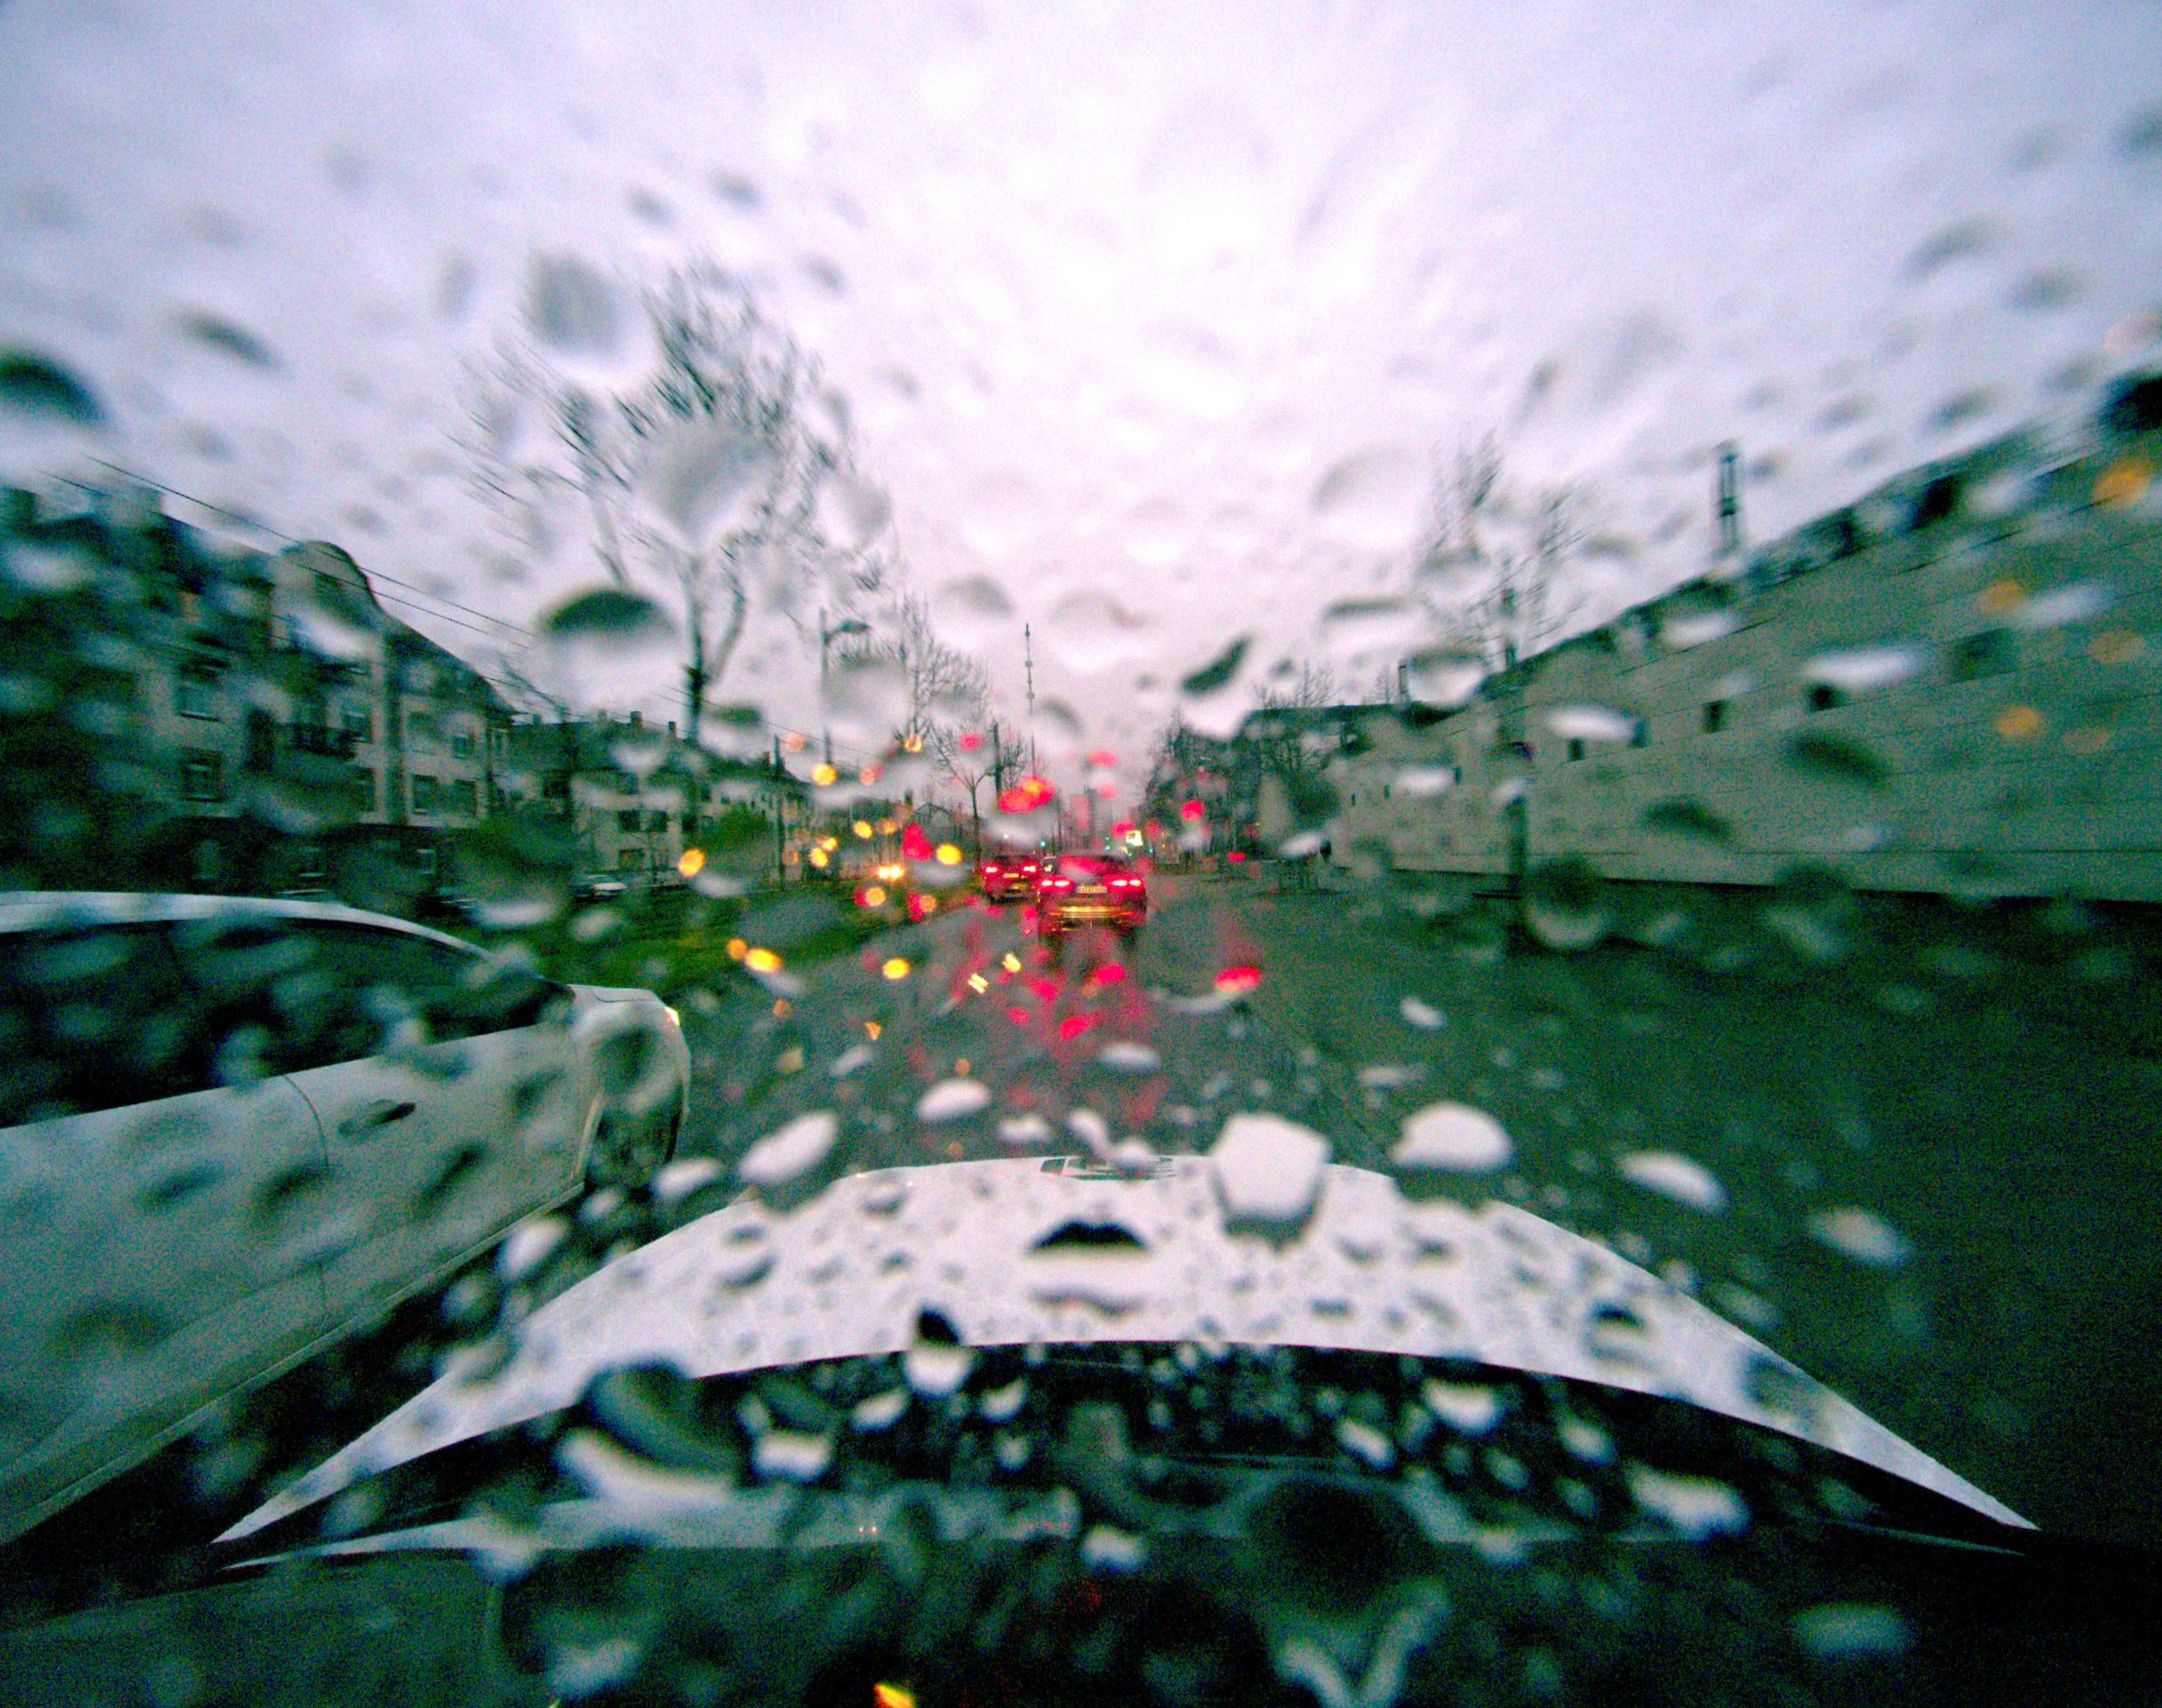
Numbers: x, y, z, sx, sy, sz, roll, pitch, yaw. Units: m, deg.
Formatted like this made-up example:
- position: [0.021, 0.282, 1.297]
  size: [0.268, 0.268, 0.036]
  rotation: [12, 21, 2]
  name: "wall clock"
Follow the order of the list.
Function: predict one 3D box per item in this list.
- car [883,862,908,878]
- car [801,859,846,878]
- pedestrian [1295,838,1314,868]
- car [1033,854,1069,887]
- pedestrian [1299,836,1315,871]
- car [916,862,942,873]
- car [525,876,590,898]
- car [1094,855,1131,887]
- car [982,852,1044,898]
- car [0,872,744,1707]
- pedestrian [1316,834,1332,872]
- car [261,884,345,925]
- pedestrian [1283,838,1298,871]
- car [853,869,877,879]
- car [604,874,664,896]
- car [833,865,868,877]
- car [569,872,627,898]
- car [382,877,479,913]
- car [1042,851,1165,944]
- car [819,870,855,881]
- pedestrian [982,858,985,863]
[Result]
- position: [-19.427, 1.669, 85.527]
  size: [1.539, 1.504, 3.786]
  rotation: [-1, 0, 3]
  name: "car"
- position: [-25.390, 1.417, 80.301]
  size: [4.598, 1.723, 1.845]
  rotation: [-1, 0, 35]
  name: "car"
- position: [12.598, -0.038, 45.888]
  size: [0.665, 1.655, 0.993]
  rotation: [-3, -1, -4]
  name: "pedestrian"
- position: [-1.560, 0.864, 43.412]
  size: [1.683, 1.635, 3.475]
  rotation: [-1, 0, 1]
  name: "car"
- position: [10.763, -0.018, 38.786]
  size: [0.667, 1.612, 0.617]
  rotation: [-1, -1, 15]
  name: "pedestrian"
- position: [-23.389, 2.070, 125.324]
  size: [3.799, 1.588, 1.753]
  rotation: [-1, 0, 32]
  name: "car"
- position: [-26.213, 1.633, 40.796]
  size: [2.881, 0.989, 1.806]
  rotation: [1, -1, 37]
  name: "car"
- position: [1.670, 0.873, 43.690]
  size: [1.848, 1.635, 3.475]
  rotation: [-1, 0, 1]
  name: "car"
- position: [-2.307, 0.690, 28.550]
  size: [1.812, 1.450, 3.999]
  rotation: [-1, 0, 0]
  name: "car"
- position: [-2.742, 0.839, 2.440]
  size: [1.682, 1.474, 4.002]
  rotation: [-1, 0, 2]
  name: "car"
- position: [11.511, -0.061, 38.538]
  size: [0.667, 1.778, 0.617]
  rotation: [-1, -1, 15]
  name: "pedestrian"
- position: [-27.766, 1.749, 29.026]
  size: [4.212, 1.258, 1.844]
  rotation: [-1, 0, 42]
  name: "car"
- position: [10.306, 0.035, 40.099]
  size: [0.667, 1.625, 0.617]
  rotation: [-1, -1, 17]
  name: "pedestrian"
- position: [-24.563, 2.297, 92.709]
  size: [2.361, 1.048, 1.446]
  rotation: [-1, 1, 34]
  name: "car"
- position: [-26.439, 1.816, 48.132]
  size: [4.053, 1.161, 1.722]
  rotation: [1, -1, 41]
  name: "car"
- position: [-24.583, 1.809, 86.672]
  size: [3.534, 1.309, 1.697]
  rotation: [-1, 0, 34]
  name: "car"
- position: [-26.492, 1.676, 44.645]
  size: [3.993, 1.230, 1.357]
  rotation: [1, -1, 38]
  name: "car"
- position: [-26.940, 1.662, 33.726]
  size: [3.321, 1.418, 1.888]
  rotation: [-1, -2, 27]
  name: "car"
- position: [0.422, 0.727, 15.153]
  size: [1.986, 1.483, 3.701]
  rotation: [-1, -1, 1]
  name: "car"
- position: [-25.089, 2.209, 83.708]
  size: [3.525, 1.141, 1.748]
  rotation: [-1, 0, 34]
  name: "car"
- position: [-23.108, 1.503, 192.987]
  size: [0.348, 1.184, 0.429]
  rotation: [0, -1, -39]
  name: "pedestrian"
